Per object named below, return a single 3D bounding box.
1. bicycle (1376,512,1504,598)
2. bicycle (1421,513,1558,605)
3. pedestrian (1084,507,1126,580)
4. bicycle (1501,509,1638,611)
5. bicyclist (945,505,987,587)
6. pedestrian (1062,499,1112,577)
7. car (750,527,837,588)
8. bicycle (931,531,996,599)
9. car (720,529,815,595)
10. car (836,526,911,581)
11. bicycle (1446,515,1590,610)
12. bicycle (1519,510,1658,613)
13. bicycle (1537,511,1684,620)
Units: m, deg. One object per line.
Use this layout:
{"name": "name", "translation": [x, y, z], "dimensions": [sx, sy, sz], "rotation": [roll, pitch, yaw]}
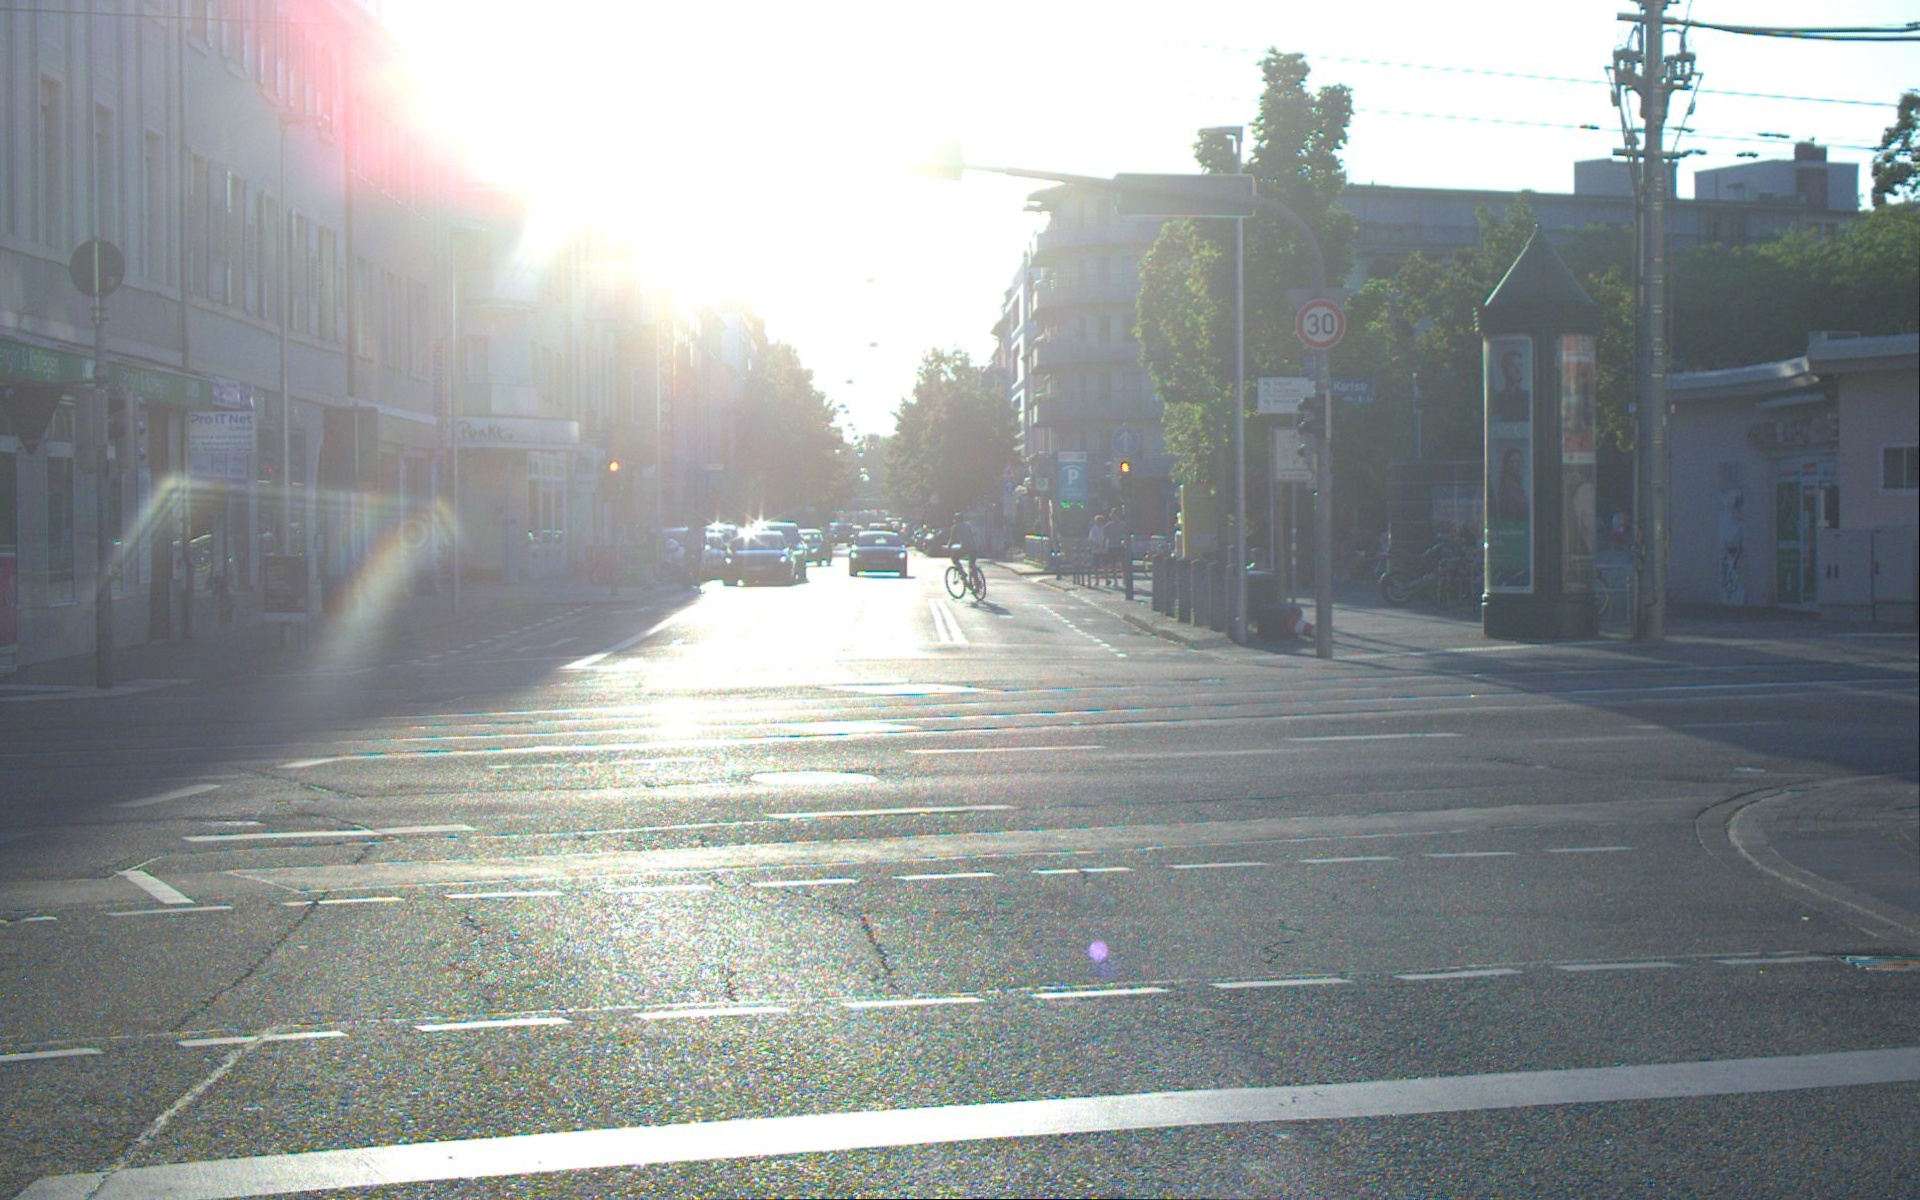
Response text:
{"name": "bicycle", "translation": [8.610, -0.813, 61.697], "dimensions": [2.223, 1.517, 0.681], "rotation": [-1, 1, 4]}
{"name": "bicycle", "translation": [9.009, -0.701, 58.558], "dimensions": [2.222, 1.517, 0.681], "rotation": [-1, 1, 0]}
{"name": "pedestrian", "translation": [3.602, -1.394, 85.323], "dimensions": [0.804, 1.780, 0.993], "rotation": [-2, 0, 13]}
{"name": "bicycle", "translation": [9.299, -0.612, 52.497], "dimensions": [1.985, 1.517, 0.479], "rotation": [-1, 1, 0]}
{"name": "bicyclist", "translation": [0.130, -1.142, 72.343], "dimensions": [0.678, 1.701, 0.669], "rotation": [-1, 1, -18]}
{"name": "pedestrian", "translation": [3.230, -1.569, 87.129], "dimensions": [0.992, 1.950, 0.805], "rotation": [-1, 1, 26]}
{"name": "car", "translation": [-4.766, -1.250, 99.355], "dimensions": [2.303, 1.672, 5.533], "rotation": [-1, 1, -1]}
{"name": "bicycle", "translation": [0.069, -0.756, 72.516], "dimensions": [0.678, 1.397, 2.230], "rotation": [-1, 1, -18]}
{"name": "car", "translation": [-5.101, -1.034, 91.761], "dimensions": [2.303, 1.672, 5.533], "rotation": [-1, 1, -1]}
{"name": "car", "translation": [-2.701, -1.491, 108.601], "dimensions": [2.303, 1.672, 5.533], "rotation": [-1, 1, -1]}
{"name": "bicycle", "translation": [9.109, -0.623, 56.180], "dimensions": [2.222, 1.517, 0.681], "rotation": [-1, 1, 0]}
{"name": "bicycle", "translation": [9.406, -0.576, 51.461], "dimensions": [1.985, 1.517, 0.479], "rotation": [-1, 1, 0]}
{"name": "bicycle", "translation": [9.276, -0.492, 49.047], "dimensions": [1.985, 1.517, 0.479], "rotation": [-1, 1, -1]}
